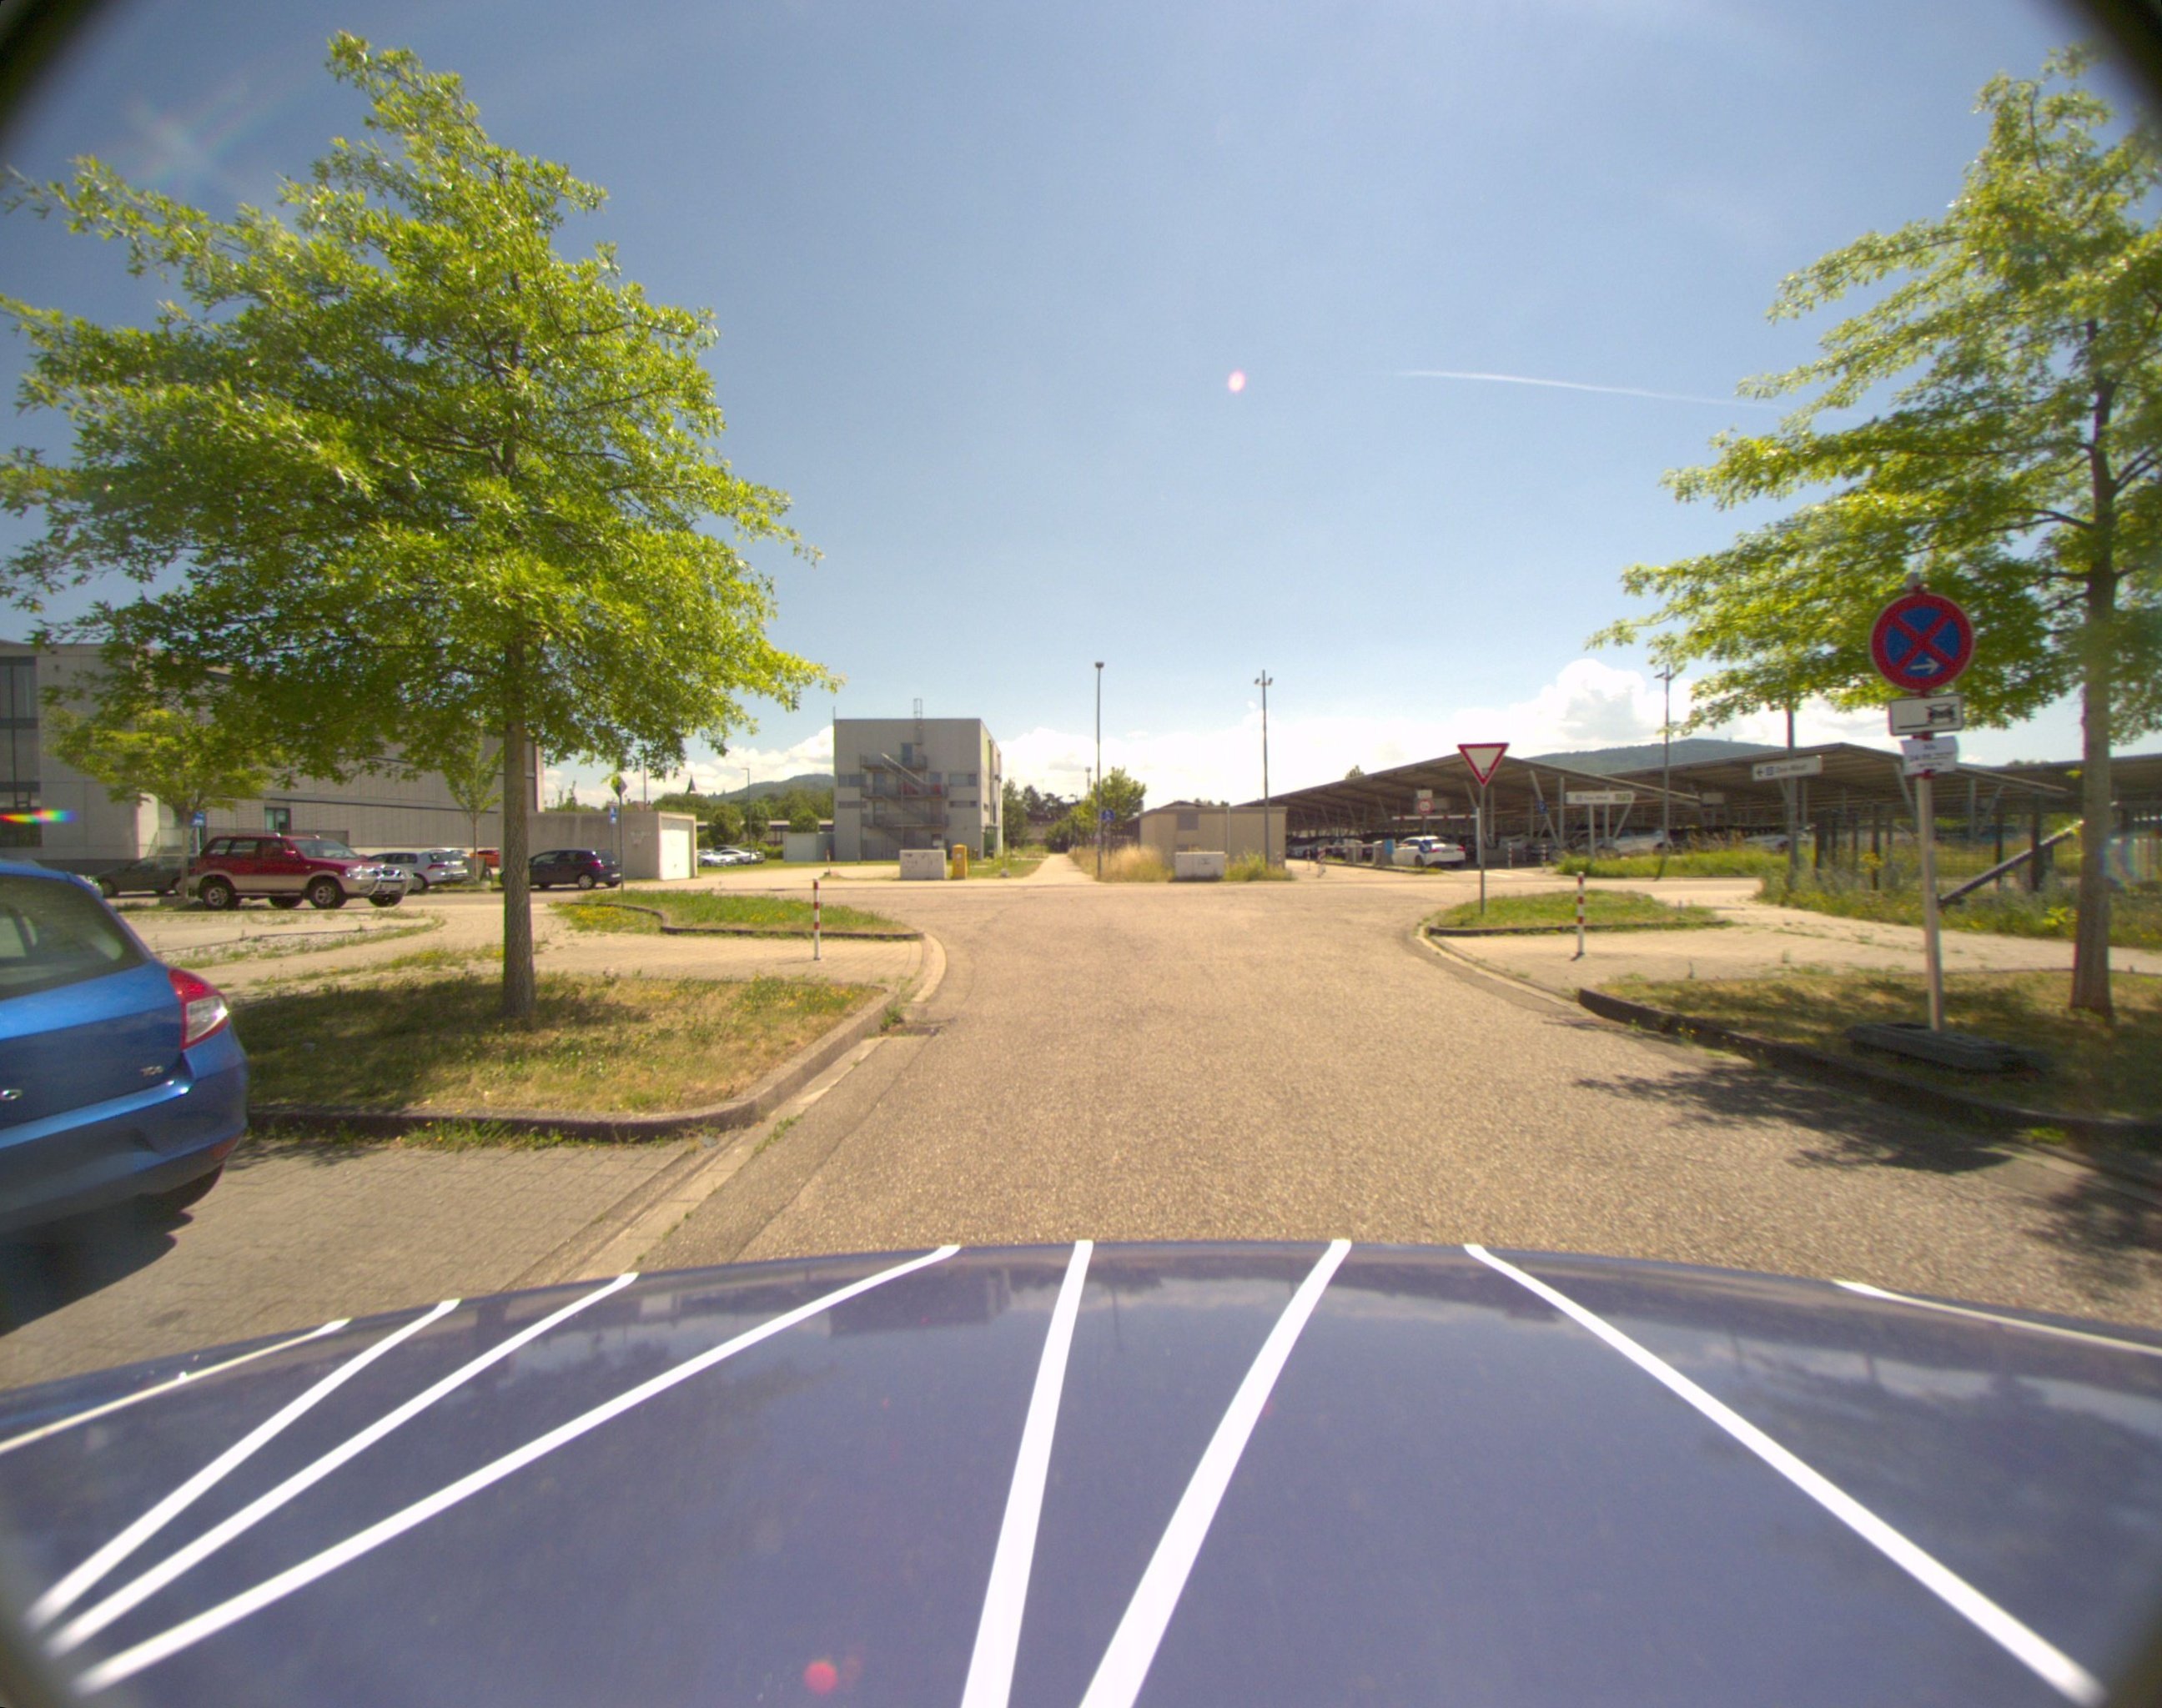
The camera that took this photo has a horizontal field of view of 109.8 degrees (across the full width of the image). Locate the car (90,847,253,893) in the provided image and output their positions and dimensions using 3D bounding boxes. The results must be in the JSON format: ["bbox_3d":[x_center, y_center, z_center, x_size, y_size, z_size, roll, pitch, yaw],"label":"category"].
[{"bbox_3d":[-32.091,0.538,26.899,3.625,1.461,1.658,0,3,-1],"label":"car"}]

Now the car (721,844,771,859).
[{"bbox_3d":[-32.329,-0.280,73.310,4.054,1.379,1.658,0,1,-1],"label":"car"}]

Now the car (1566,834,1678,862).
[{"bbox_3d":[23.954,-0.269,33.736,3.774,1.221,1.723,0,1,-3],"label":"car"}]

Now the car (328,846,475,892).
[{"bbox_3d":[-24.250,0.520,27.202,3.626,1.493,1.657,0,3,-2],"label":"car"}]

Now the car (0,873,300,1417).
[{"bbox_3d":[-5.064,0.785,2.200,4.004,1.482,1.728,2,1,5],"label":"car"}]

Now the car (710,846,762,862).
[{"bbox_3d":[-31.701,0.033,69.900,4.054,1.417,1.658,0,1,-1],"label":"car"}]

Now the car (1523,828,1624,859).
[{"bbox_3d":[23.558,-0.510,36.437,3.774,1.428,1.723,0,1,-3],"label":"car"}]

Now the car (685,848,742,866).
[{"bbox_3d":[-31.363,0.232,64.899,4.054,1.458,1.658,0,2,-1],"label":"car"}]

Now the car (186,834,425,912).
[{"bbox_3d":[-18.867,0.467,18.622,3.997,1.764,1.811,-1,-1,0],"label":"car"}]

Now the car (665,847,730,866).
[{"bbox_3d":[-31.477,0.205,62.453,4.368,1.458,1.709,0,1,-1],"label":"car"}]

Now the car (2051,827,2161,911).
[{"bbox_3d":[20.548,0.250,13.795,3.678,1.455,1.723,0,1,-1],"label":"car"}]

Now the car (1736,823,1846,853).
[{"bbox_3d":[34.316,-0.781,36.766,3.774,1.428,1.723,0,1,-3],"label":"car"}]

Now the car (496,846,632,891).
[{"bbox_3d":[-18.503,0.504,27.313,3.625,1.493,1.682,0,3,-1],"label":"car"}]

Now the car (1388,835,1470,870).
[{"bbox_3d":[15.213,-0.082,33.469,1.722,1.428,3.774,0,1,-3],"label":"car"}]

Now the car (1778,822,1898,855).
[{"bbox_3d":[34.096,-0.692,34.285,3.774,1.428,1.723,0,1,-3],"label":"car"}]

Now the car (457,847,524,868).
[{"bbox_3d":[-44.003,0.233,56.653,3.625,1.493,1.658,0,3,1],"label":"car"}]

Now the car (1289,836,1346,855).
[{"bbox_3d":[17.767,-0.636,57.230,3.774,1.428,1.723,0,1,-3],"label":"car"}]

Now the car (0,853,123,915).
[{"bbox_3d":[-26.314,0.726,18.440,3.706,1.433,1.788,0,-2,-2],"label":"car"}]

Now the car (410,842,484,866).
[{"bbox_3d":[-43.373,-0.021,52.014,3.625,1.493,1.658,0,3,1],"label":"car"}]

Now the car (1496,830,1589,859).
[{"bbox_3d":[23.659,-0.489,39.057,3.774,1.428,1.723,0,1,-3],"label":"car"}]

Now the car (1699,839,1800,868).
[{"bbox_3d":[34.312,-0.025,39.046,3.774,1.428,1.723,0,1,-3],"label":"car"}]
